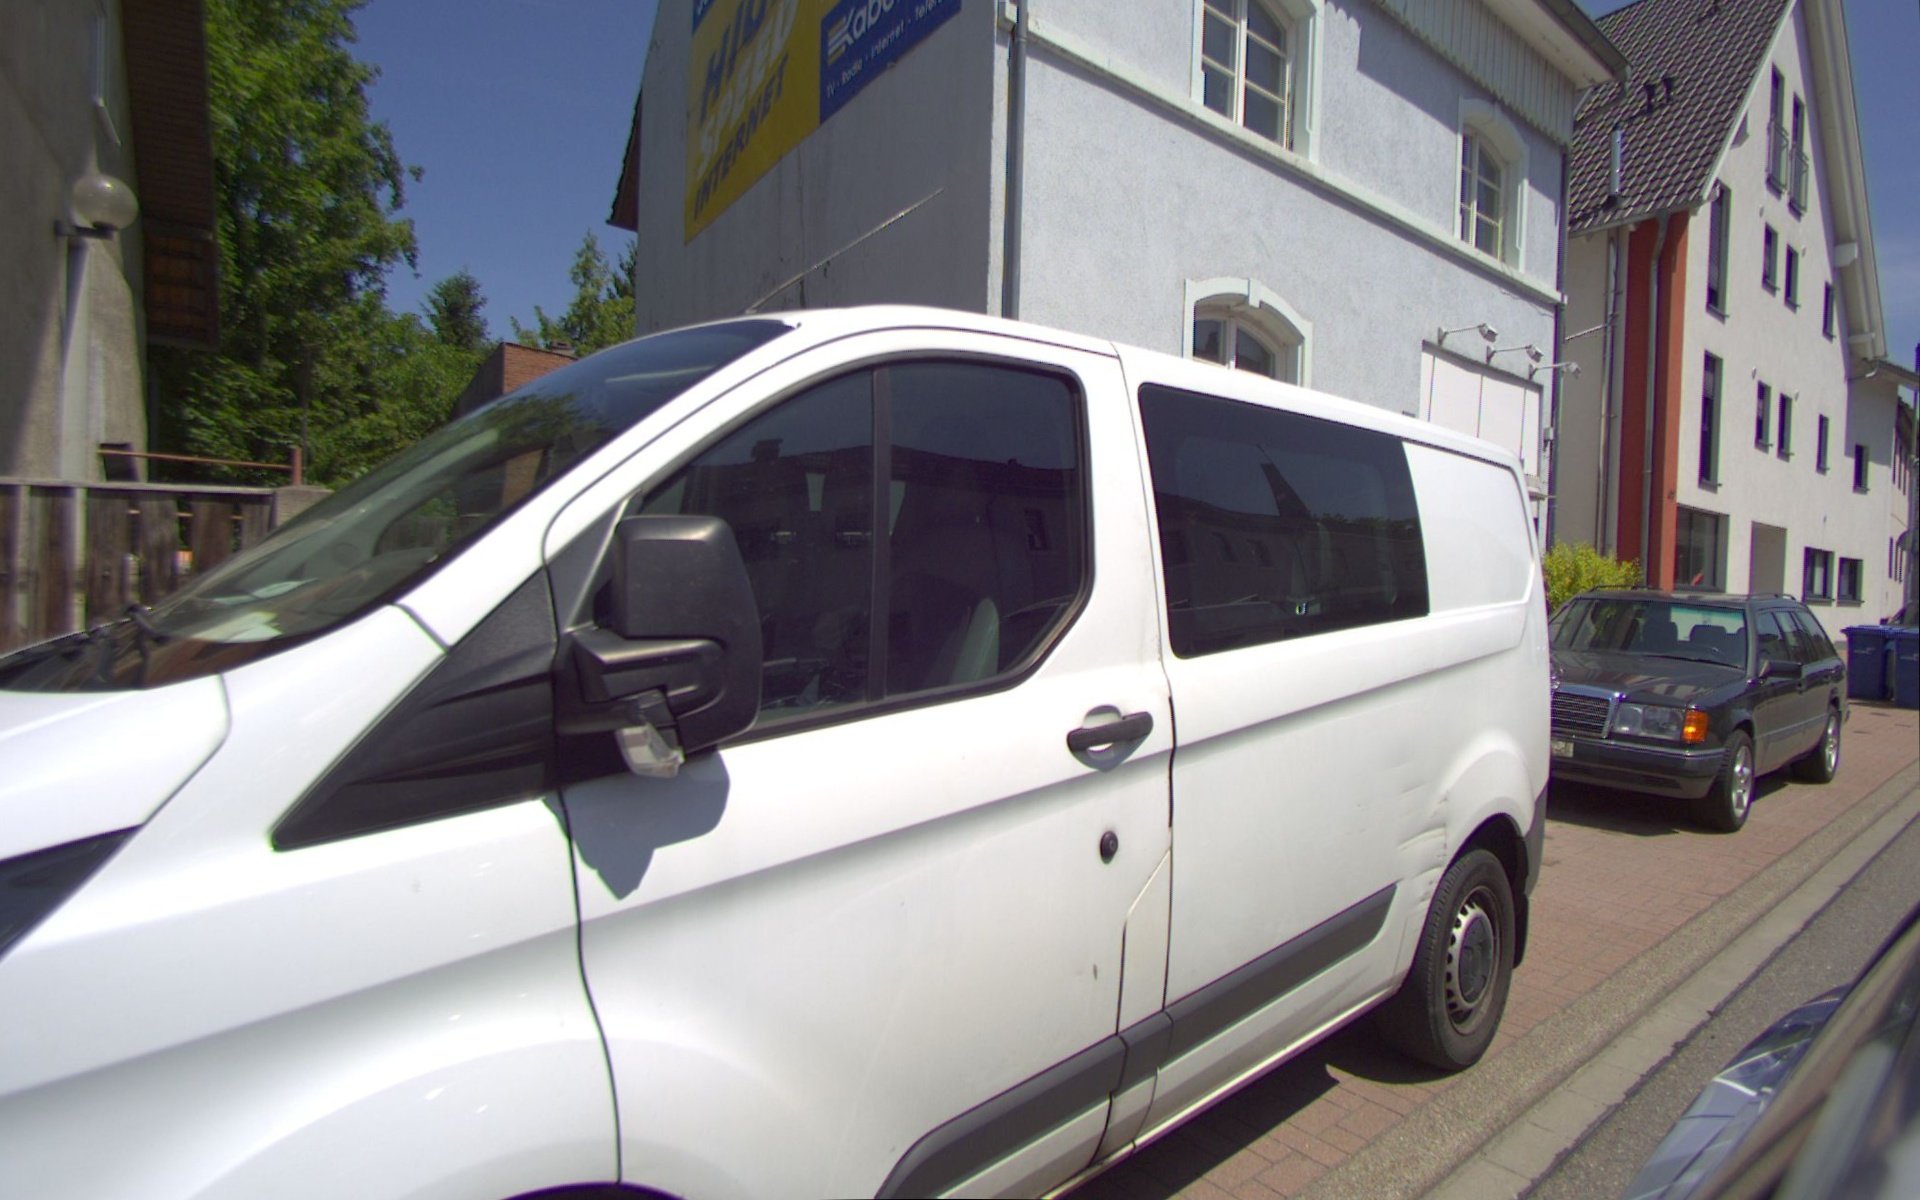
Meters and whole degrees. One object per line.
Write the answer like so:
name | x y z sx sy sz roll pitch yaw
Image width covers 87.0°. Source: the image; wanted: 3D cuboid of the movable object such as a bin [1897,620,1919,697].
movable object such as a bin | 13.674 0.831 14.082 0.670 1.047 0.659 1 3 -24

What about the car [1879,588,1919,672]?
car | 19.169 0.579 19.302 4.750 1.464 1.705 0 4 -40

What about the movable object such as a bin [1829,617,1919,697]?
movable object such as a bin | 13.210 0.810 14.607 0.818 1.073 0.658 1 3 -24

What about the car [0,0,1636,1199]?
car | -0.070 0.339 2.700 4.702 1.994 1.950 0 2 -42

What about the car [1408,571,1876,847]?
car | 5.384 0.596 7.725 4.496 1.484 1.774 0 2 -40

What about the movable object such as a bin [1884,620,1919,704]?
movable object such as a bin | 13.168 0.843 13.604 0.951 1.086 0.726 1 3 -24
